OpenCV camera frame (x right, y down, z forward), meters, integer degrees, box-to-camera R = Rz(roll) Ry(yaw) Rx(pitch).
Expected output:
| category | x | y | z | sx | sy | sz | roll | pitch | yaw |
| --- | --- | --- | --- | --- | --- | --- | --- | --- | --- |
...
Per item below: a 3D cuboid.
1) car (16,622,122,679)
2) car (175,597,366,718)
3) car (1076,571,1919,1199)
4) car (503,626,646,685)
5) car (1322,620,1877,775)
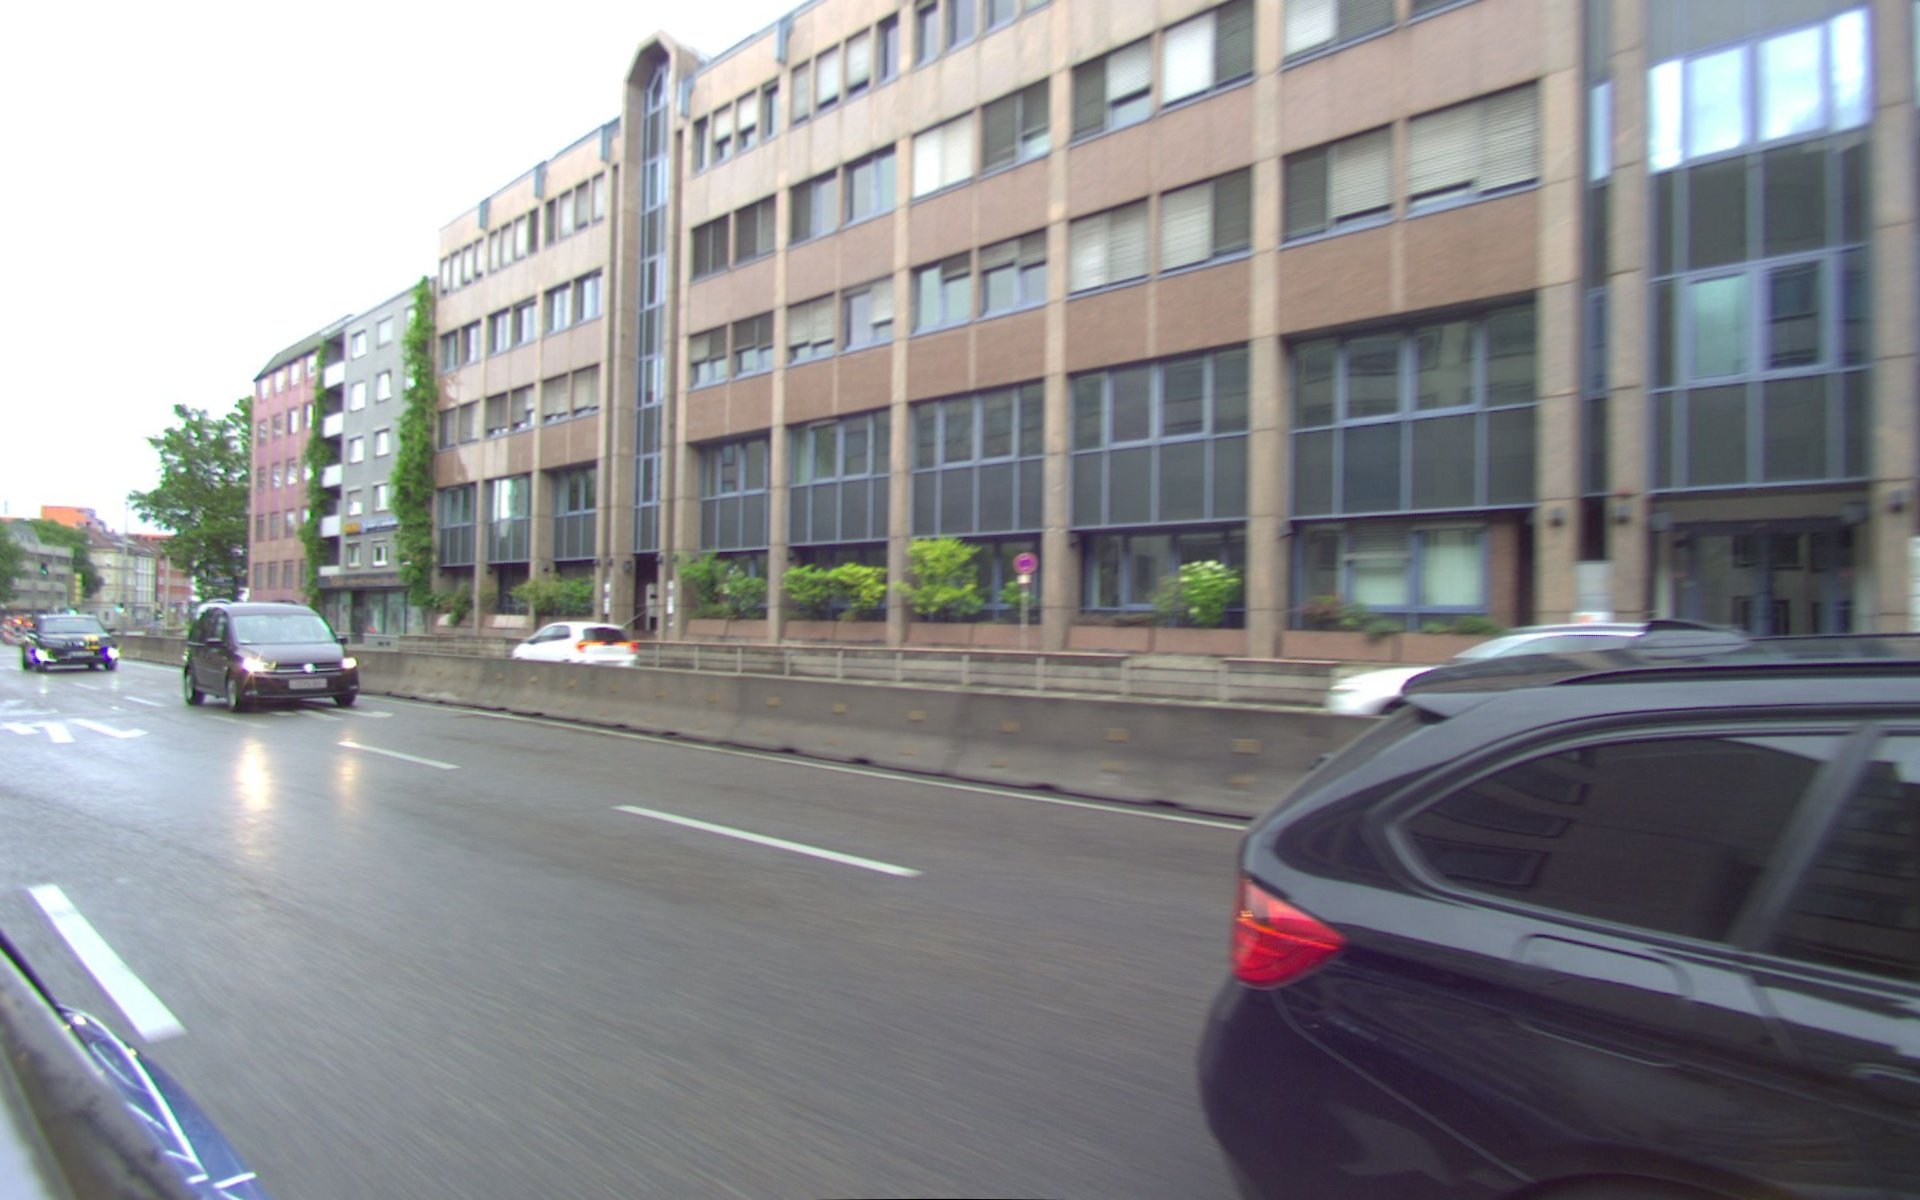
| category | x | y | z | sx | sy | sz | roll | pitch | yaw |
| --- | --- | --- | --- | --- | --- | --- | --- | --- | --- |
| car | -25.945 | 1.414 | 29.411 | 4.354 | 1.545 | 1.749 | -1 | -2 | 41 |
| car | -11.856 | 0.918 | 17.305 | 4.250 | 1.814 | 1.775 | -1 | -2 | 43 |
| car | 2.554 | 0.693 | 1.146 | 4.653 | 1.454 | 1.749 | -1 | -2 | 41 |
| car | -9.379 | 1.297 | 24.529 | 3.695 | 1.329 | 1.701 | -1 | -2 | 41 |
| car | 6.352 | 0.864 | 10.514 | 4.543 | 1.279 | 1.826 | -1 | -2 | 39 |
